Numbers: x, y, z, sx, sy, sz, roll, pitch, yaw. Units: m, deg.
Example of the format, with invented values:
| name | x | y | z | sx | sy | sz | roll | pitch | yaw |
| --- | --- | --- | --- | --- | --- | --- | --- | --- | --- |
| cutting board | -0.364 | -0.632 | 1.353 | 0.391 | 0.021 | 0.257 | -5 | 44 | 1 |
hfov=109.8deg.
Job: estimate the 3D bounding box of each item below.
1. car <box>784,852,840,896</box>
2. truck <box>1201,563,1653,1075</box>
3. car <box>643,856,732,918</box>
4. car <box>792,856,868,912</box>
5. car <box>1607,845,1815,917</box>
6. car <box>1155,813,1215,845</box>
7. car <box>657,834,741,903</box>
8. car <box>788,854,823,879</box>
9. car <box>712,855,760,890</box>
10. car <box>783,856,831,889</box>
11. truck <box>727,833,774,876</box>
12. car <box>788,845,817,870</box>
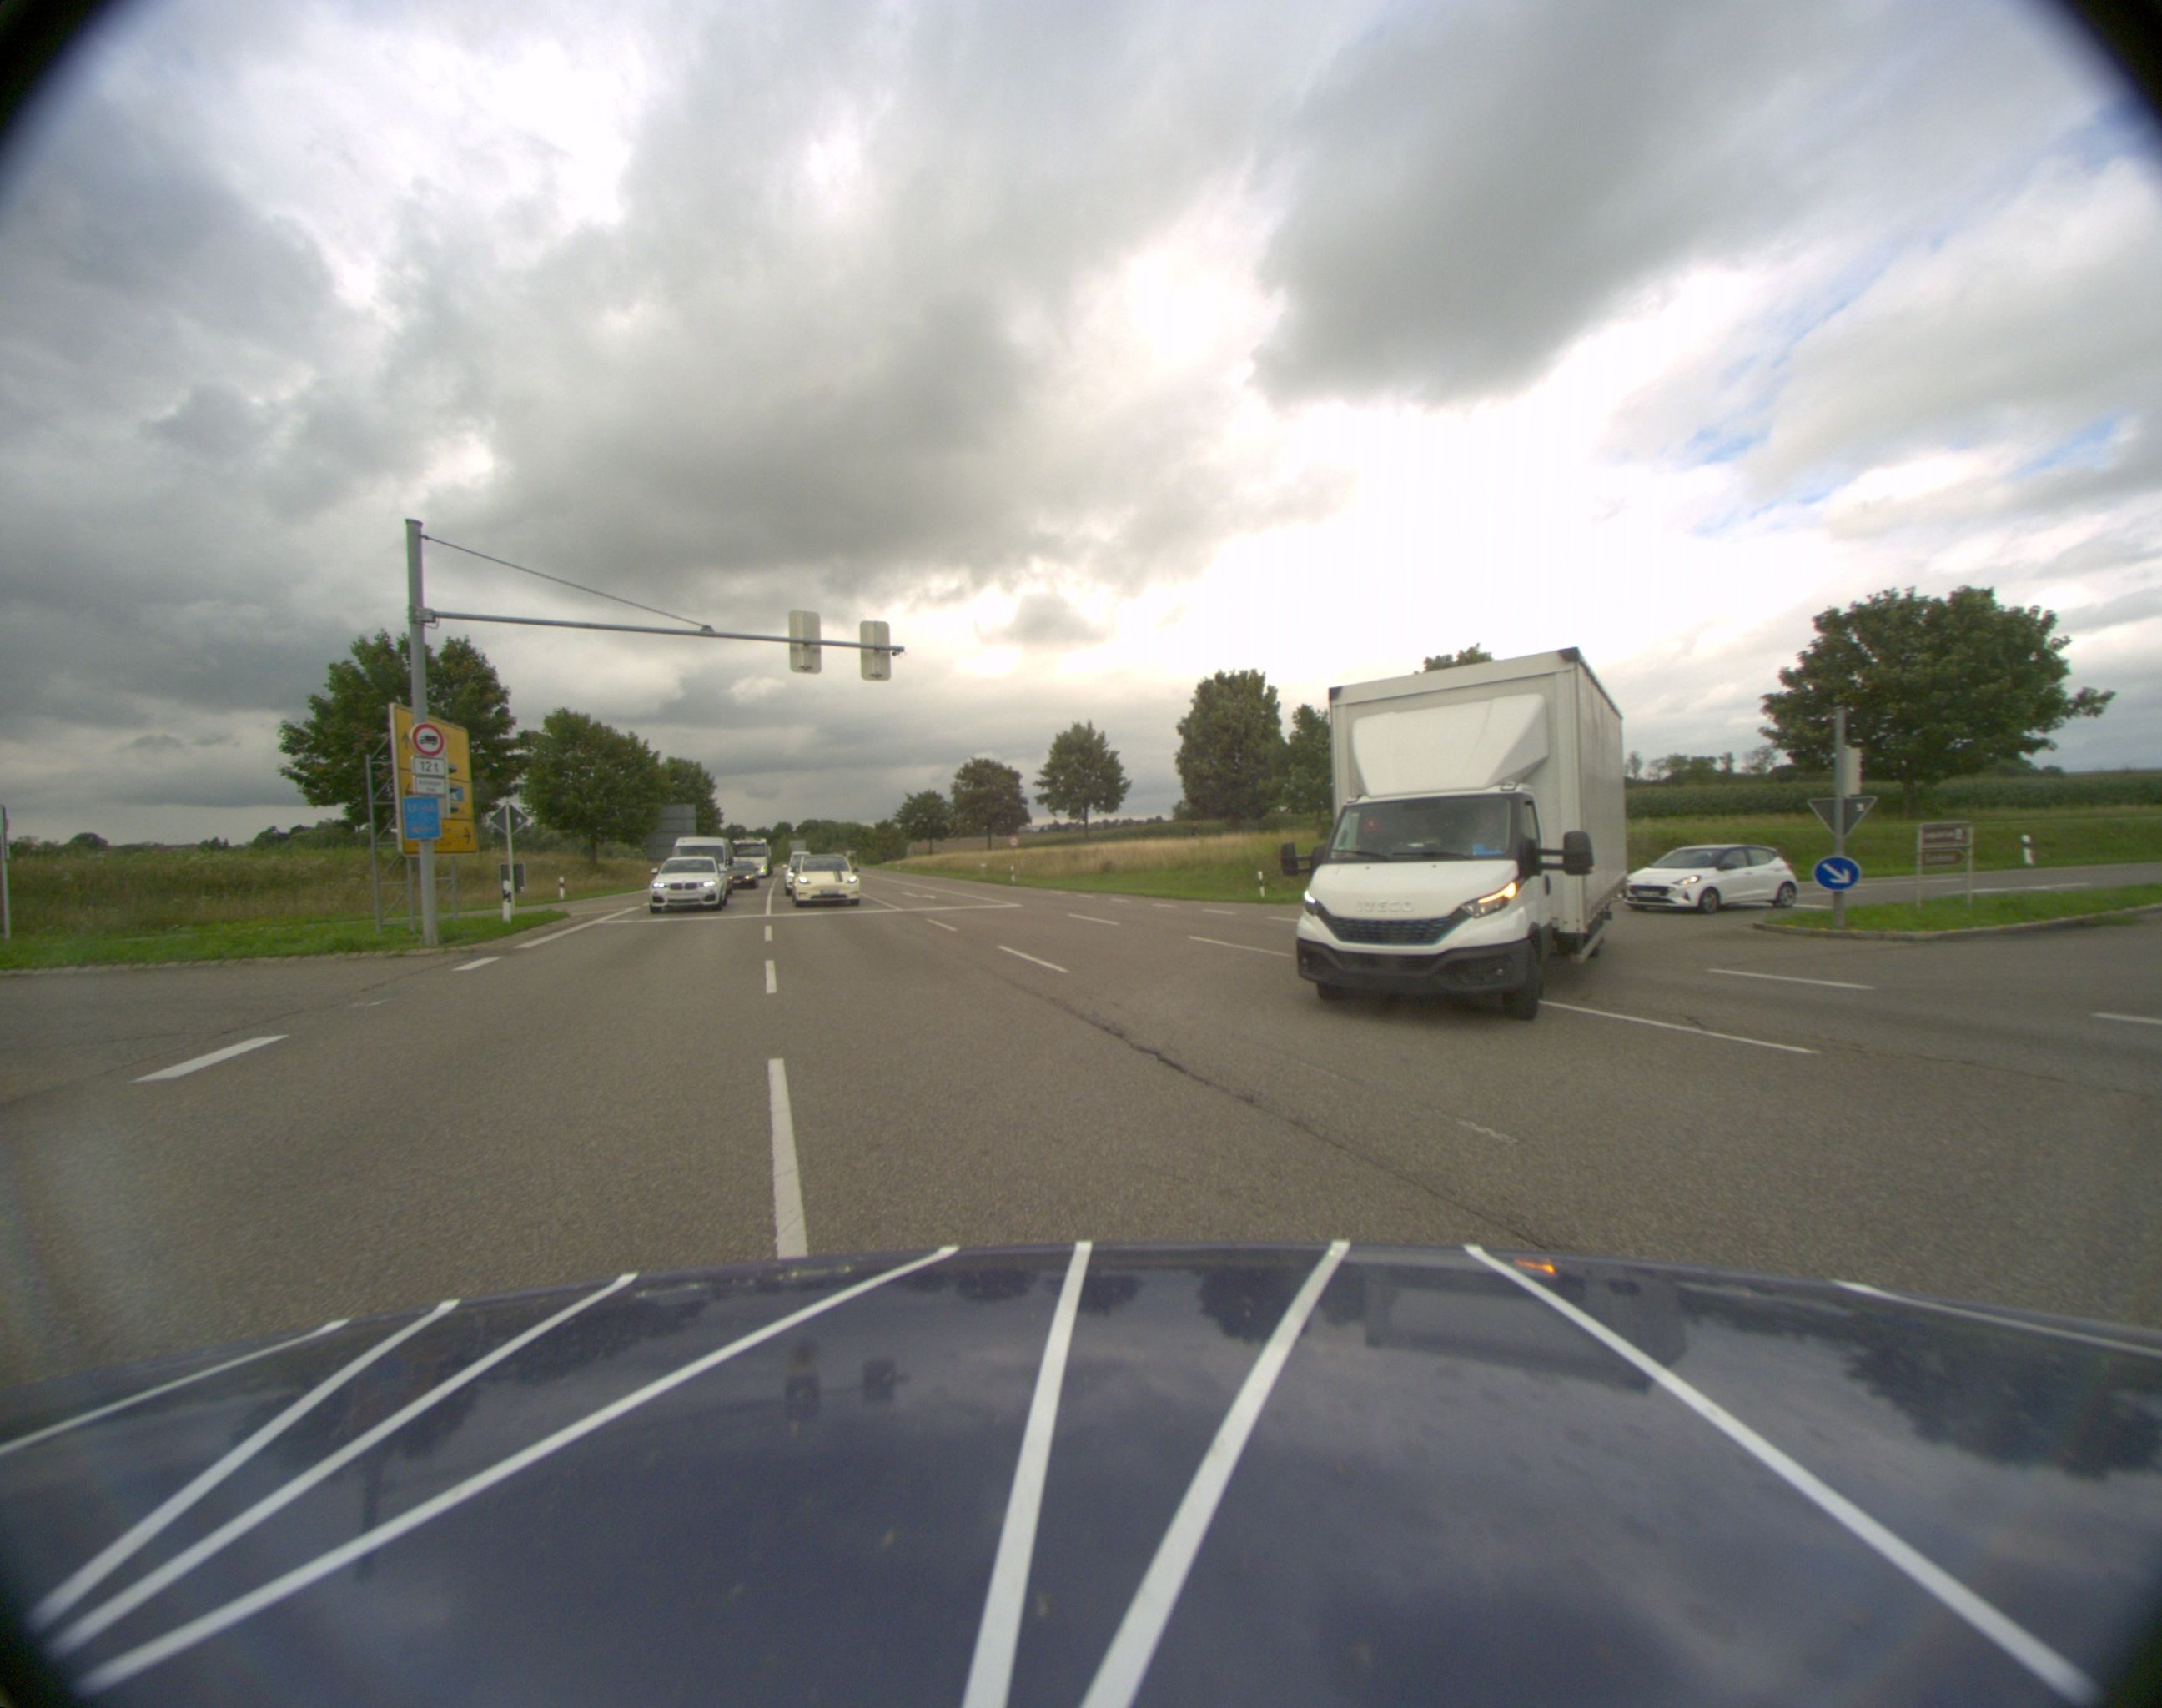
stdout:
| name | x | y | z | sx | sy | sz | roll | pitch | yaw |
| --- | --- | --- | --- | --- | --- | --- | --- | --- | --- |
| car | -11.429 | 0.777 | 32.075 | 2.002 | 1.620 | 4.315 | -3 | 1 | -22 |
| truck | 5.174 | -0.310 | 9.796 | 2.831 | 3.742 | 8.818 | 0 | 1 | 41 |
| car | -11.876 | 0.911 | 23.208 | 2.002 | 1.619 | 4.266 | -2 | 1 | -22 |
| car | -8.378 | 0.886 | 25.045 | 2.002 | 1.556 | 4.739 | -3 | 1 | -22 |
| car | 14.613 | 0.562 | 17.667 | 4.002 | 1.444 | 1.808 | -2 | 1 | -17 |
| car | 7.059 | -1.675 | 51.849 | 2.003 | 2.002 | 3.991 | -4 | 2 | -29 |
| car | -15.299 | 0.516 | 30.776 | 2.400 | 2.428 | 5.502 | -3 | 1 | -21 |
| car | -18.679 | 0.793 | 51.332 | 2.002 | 1.583 | 4.438 | -2 | 1 | -22 |
| car | -17.715 | 0.892 | 39.172 | 2.002 | 1.620 | 4.266 | -3 | 1 | -22 |
| car | -13.784 | 0.873 | 38.081 | 2.002 | 1.446 | 4.572 | -2 | 1 | -22 |
| truck | -25.885 | -0.001 | 59.747 | 3.112 | 3.091 | 7.392 | -2 | 1 | -22 |
| car | -23.817 | 0.301 | 64.883 | 2.172 | 2.002 | 4.671 | -2 | 1 | -21 |
